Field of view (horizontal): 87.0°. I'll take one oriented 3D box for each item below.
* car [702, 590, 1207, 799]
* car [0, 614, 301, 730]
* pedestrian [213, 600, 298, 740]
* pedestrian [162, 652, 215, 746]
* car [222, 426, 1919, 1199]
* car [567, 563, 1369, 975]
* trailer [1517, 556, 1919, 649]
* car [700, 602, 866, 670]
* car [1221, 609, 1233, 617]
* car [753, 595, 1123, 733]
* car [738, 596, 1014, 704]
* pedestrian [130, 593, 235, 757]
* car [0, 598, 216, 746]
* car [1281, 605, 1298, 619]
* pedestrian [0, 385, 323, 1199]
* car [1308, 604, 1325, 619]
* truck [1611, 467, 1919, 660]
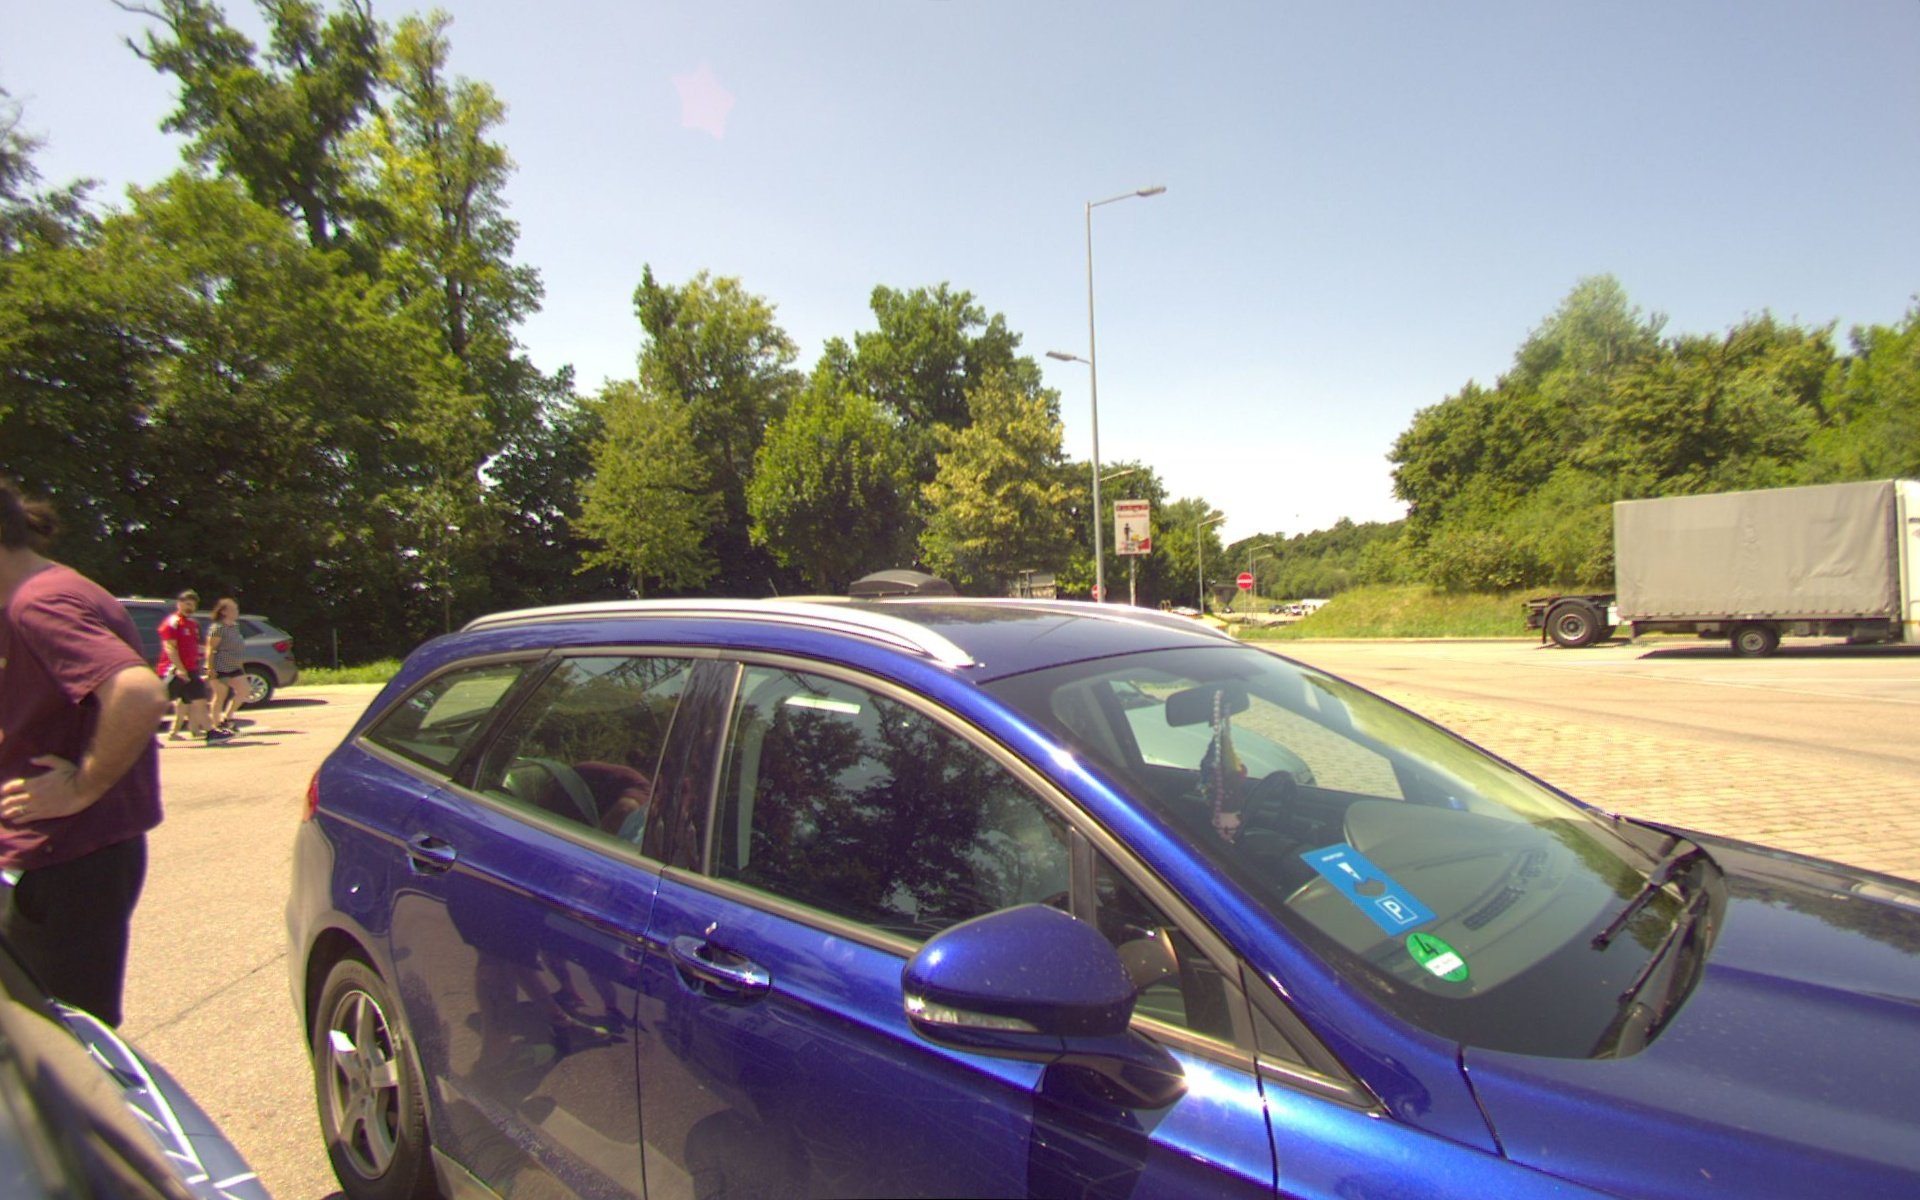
[{"bbox_3d":[-0.244,0.750,9.213,4.490,1.437,1.754,-3,-1,40],"label":"car"},{"bbox_3d":[-12.595,1.005,15.468,1.687,1.515,3.943,-1,0,43],"label":"car"},{"bbox_3d":[-8.833,0.850,12.717,0.819,1.676,0.678,-1,-1,-32],"label":"pedestrian"},{"bbox_3d":[-9.169,1.163,12.032,0.427,1.052,0.441,-1,-1,-28],"label":"pedestrian"},{"bbox_3d":[0.254,0.661,2.140,4.490,1.502,1.851,-3,0,40],"label":"car"},{"bbox_3d":[-0.257,0.695,5.839,4.490,1.511,1.754,-3,-1,40],"label":"car"},{"bbox_3d":[17.256,0.126,23.393,7.295,1.701,2.235,-4,-1,43],"label":"trailer"},{"bbox_3d":[-4.818,0.937,28.218,1.994,1.725,4.565,-1,0,33],"label":"car"},{"bbox_3d":[53.708,2.549,203.683,1.623,1.605,3.994,-1,0,5],"label":"car"},{"bbox_3d":[-0.384,0.776,12.761,4.485,1.437,1.756,-3,-1,36],"label":"car"},{"bbox_3d":[-1.476,0.827,16.860,4.485,1.562,1.756,-3,-1,36],"label":"car"},{"bbox_3d":[-8.682,0.808,11.332,0.819,1.746,0.678,-1,-1,-29],"label":"pedestrian"},{"bbox_3d":[-11.941,0.860,12.304,4.553,1.725,1.741,0,-1,-41],"label":"car"},{"bbox_3d":[52.577,1.906,161.662,1.623,2.029,3.994,-1,0,5],"label":"car"},{"bbox_3d":[-2.008,0.559,2.121,0.851,1.847,0.863,-1,0,-8],"label":"pedestrian"},{"bbox_3d":[49.902,1.572,141.790,1.626,2.029,3.988,-1,0,10],"label":"car"},{"bbox_3d":[16.829,-0.655,18.965,7.295,3.259,2.709,-4,-1,43],"label":"truck"}]
